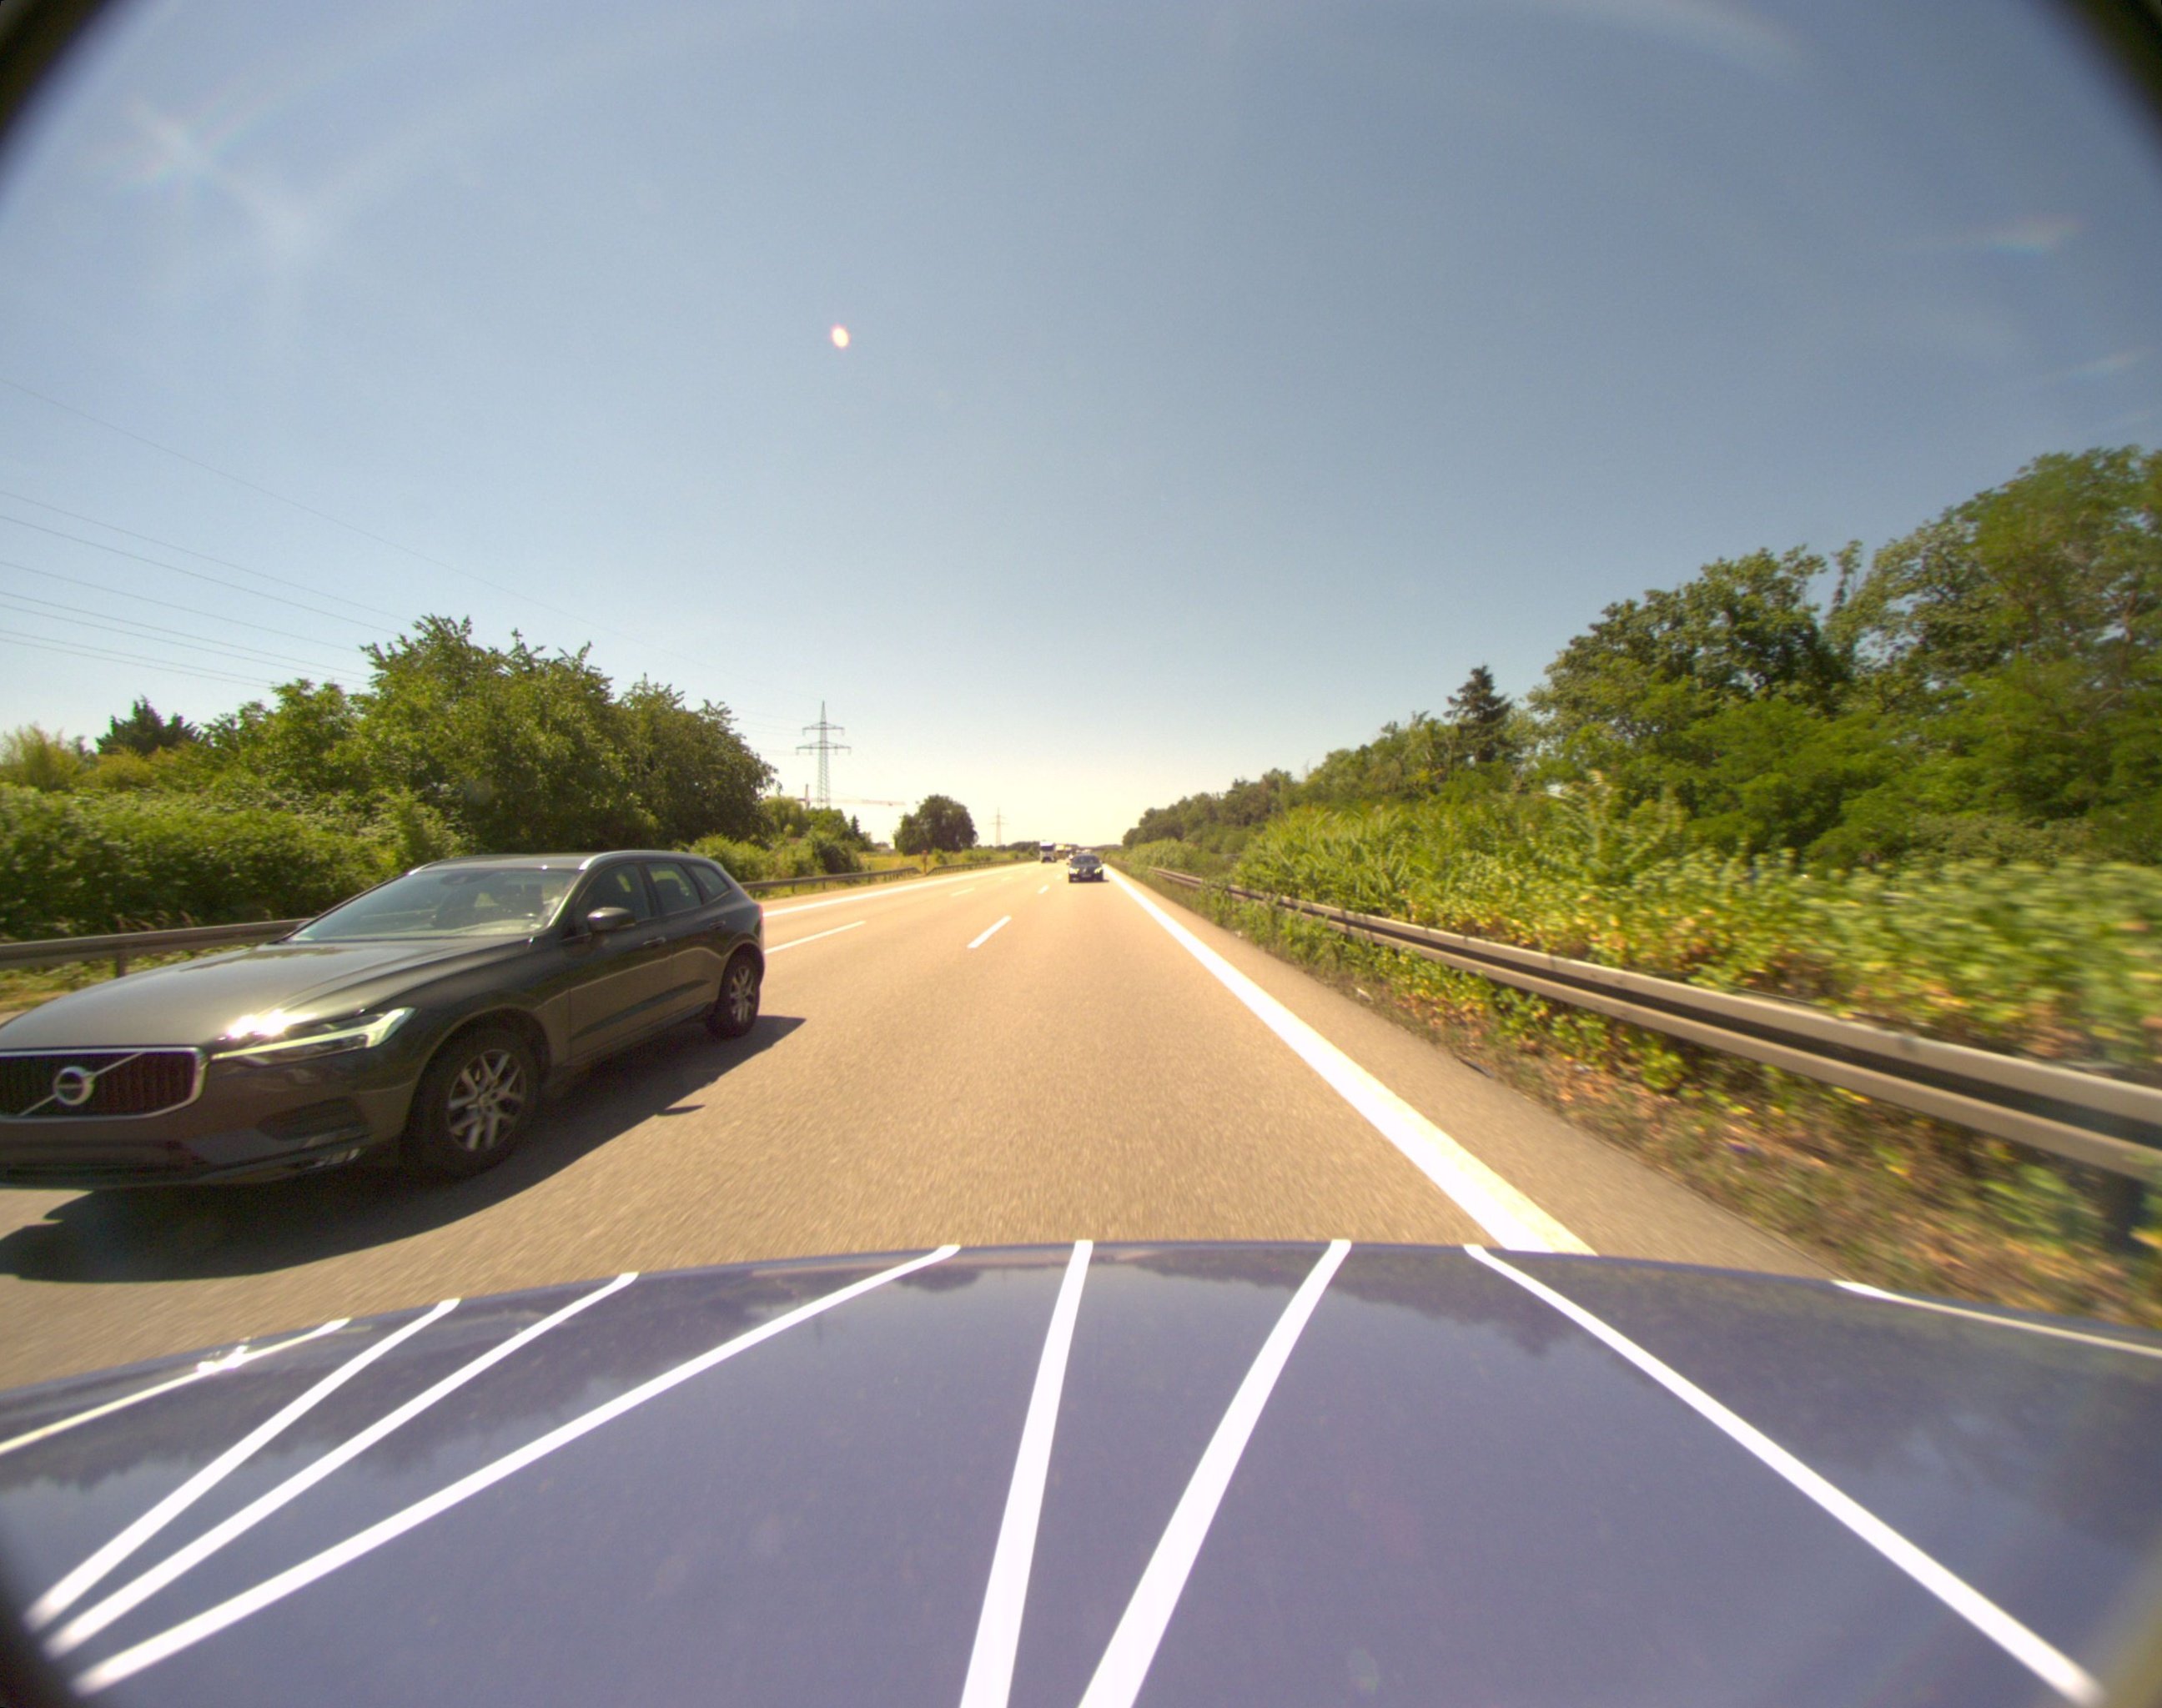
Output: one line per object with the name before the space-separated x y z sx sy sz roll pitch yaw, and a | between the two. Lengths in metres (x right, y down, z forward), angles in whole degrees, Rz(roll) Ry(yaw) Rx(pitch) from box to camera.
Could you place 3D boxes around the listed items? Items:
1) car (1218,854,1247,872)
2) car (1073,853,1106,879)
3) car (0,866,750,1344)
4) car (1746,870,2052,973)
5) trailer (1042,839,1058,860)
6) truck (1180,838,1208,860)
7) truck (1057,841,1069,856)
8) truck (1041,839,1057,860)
car | 13.344 0.774 67.169 1.774 1.542 3.775 1 1 1
car | 0.469 0.656 44.563 1.808 1.385 3.999 -2 1 0
car | -3.912 0.951 4.734 1.878 1.614 4.003 -2 0 0
car | 13.058 1.002 12.435 1.514 1.360 3.257 -1 1 1
trailer | -5.922 -0.889 147.497 2.573 3.871 13.278 -2 1 0
truck | 18.352 -0.815 123.736 2.794 3.413 11.980 1 1 1
truck | -4.968 -1.530 214.014 2.978 4.240 12.609 0 1 0
truck | -5.907 -0.841 141.079 2.573 3.871 5.722 -2 1 0
